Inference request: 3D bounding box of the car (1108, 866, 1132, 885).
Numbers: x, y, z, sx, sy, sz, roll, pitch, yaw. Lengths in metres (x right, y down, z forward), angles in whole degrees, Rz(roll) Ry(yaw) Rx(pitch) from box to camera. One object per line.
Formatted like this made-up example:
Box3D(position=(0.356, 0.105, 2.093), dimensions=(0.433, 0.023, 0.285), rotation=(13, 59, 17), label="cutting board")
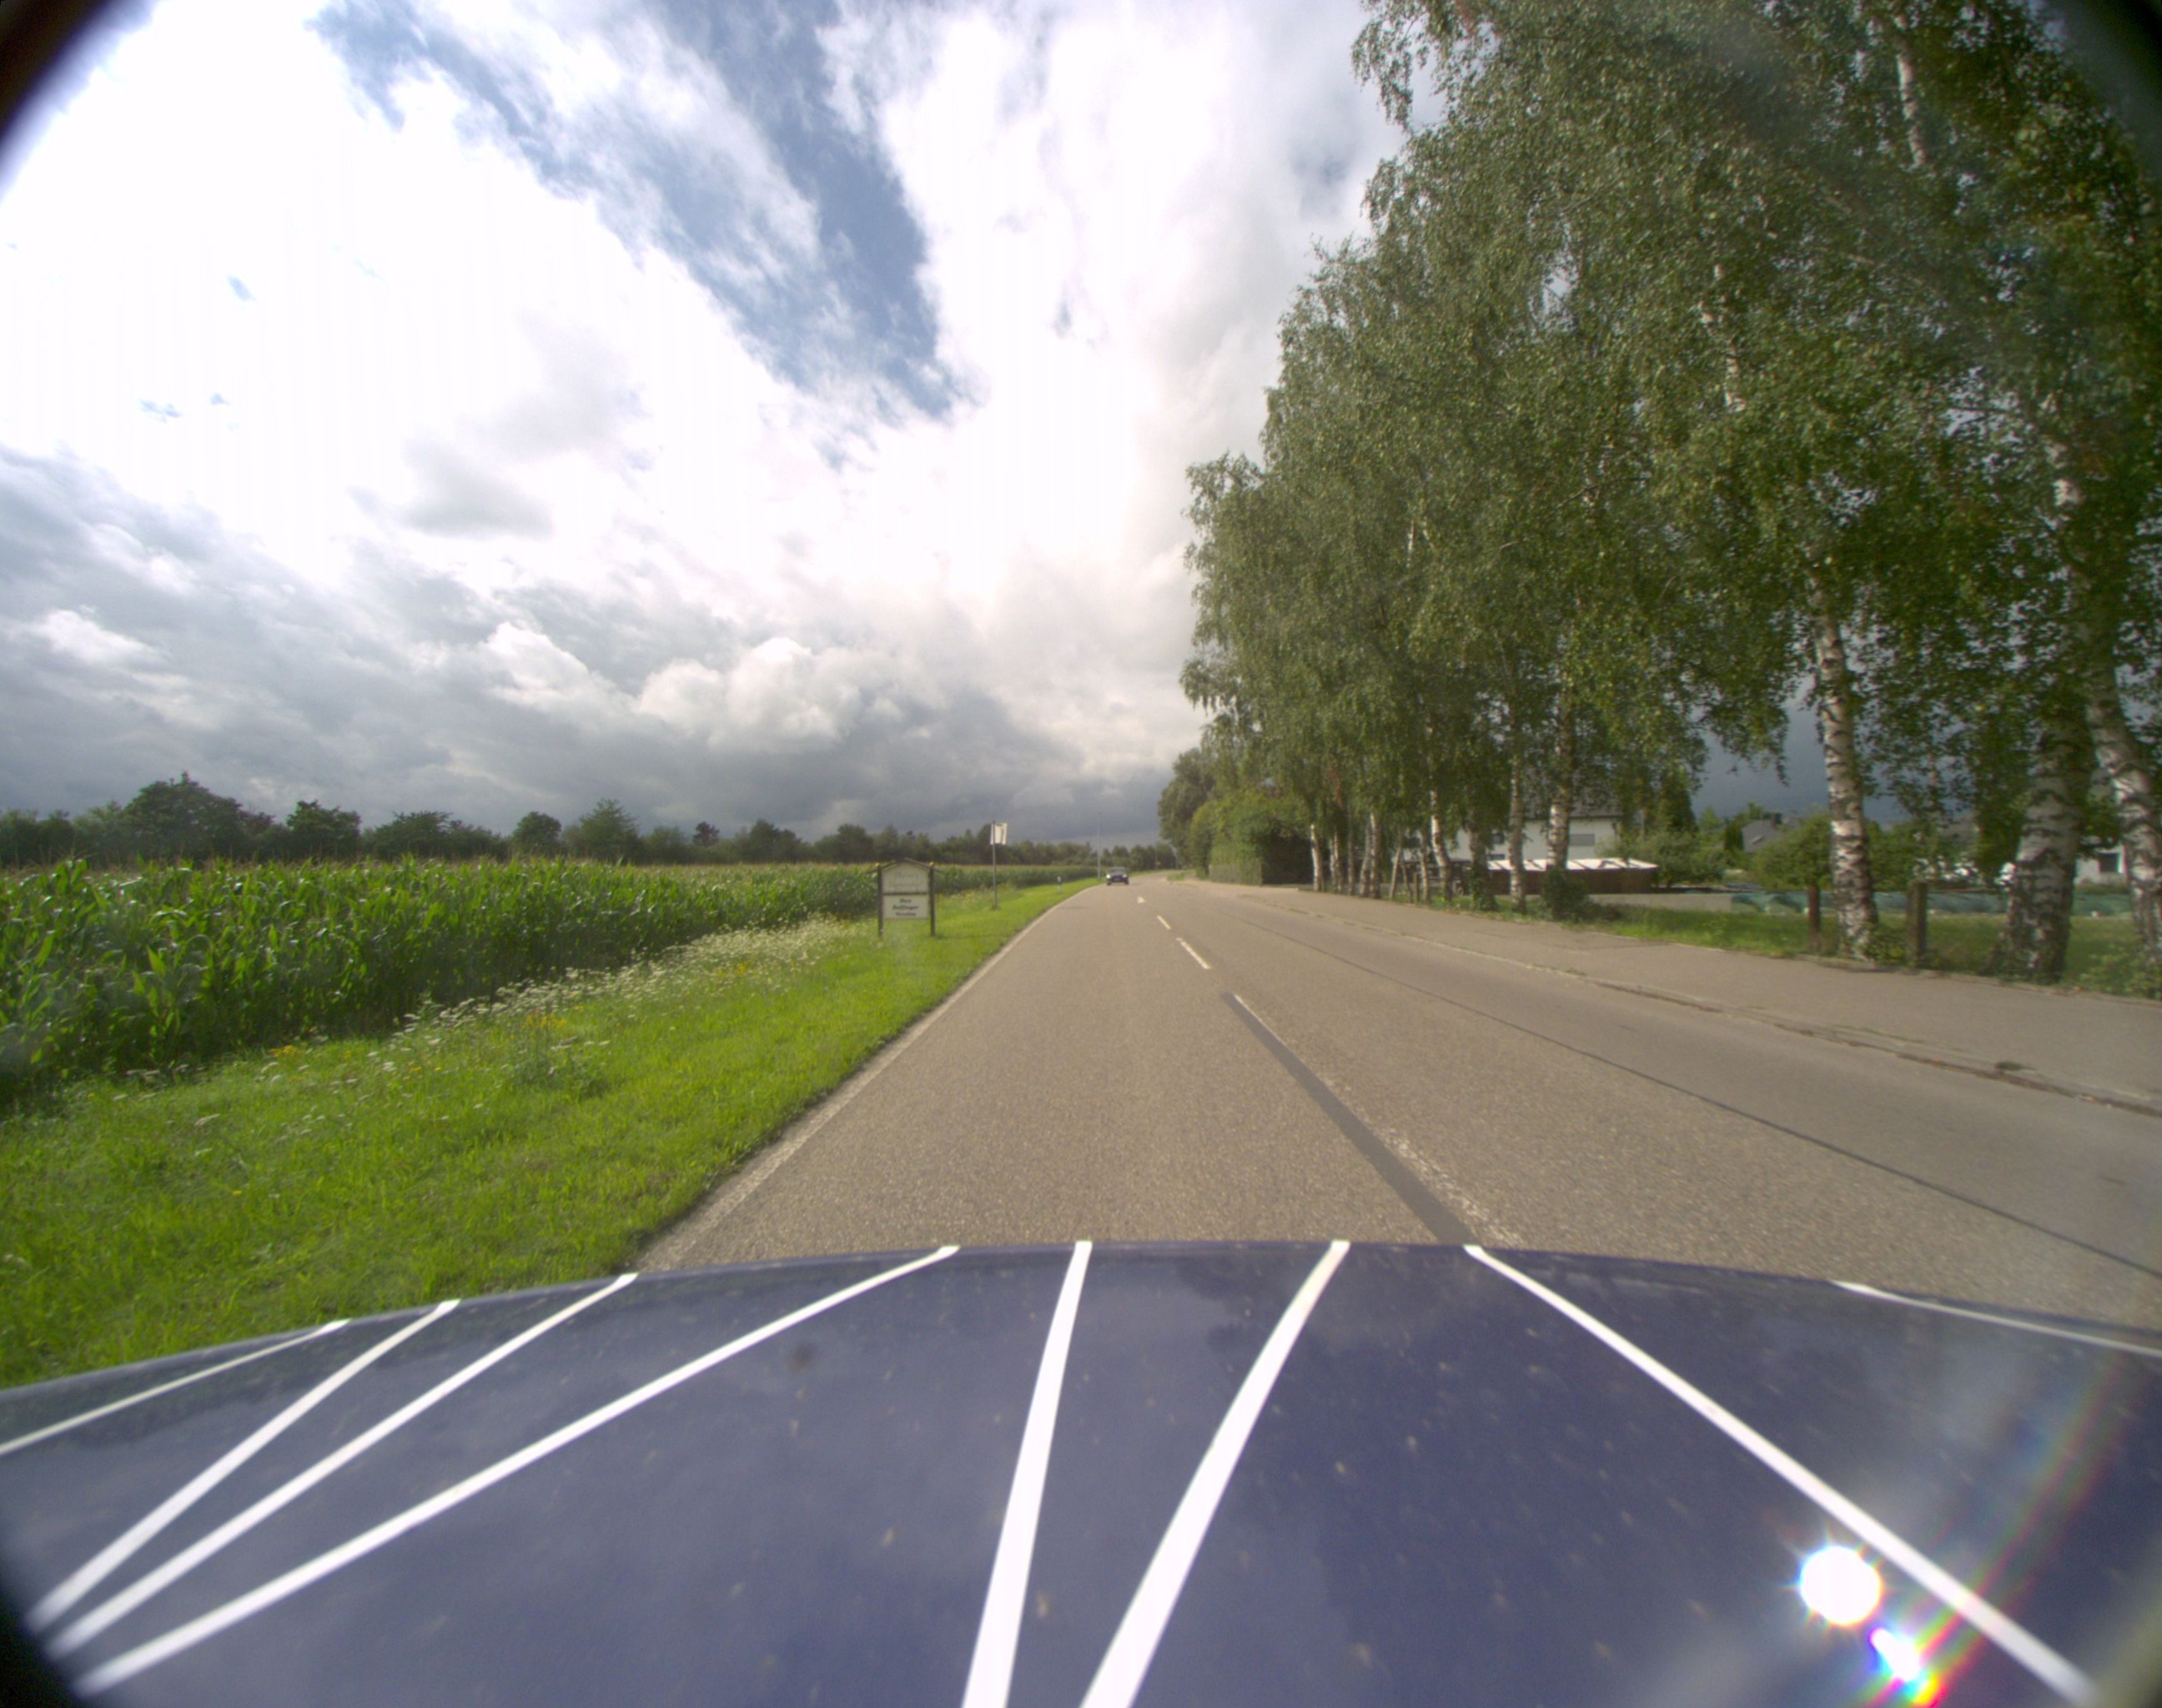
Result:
Box3D(position=(3.537, 1.895, 68.589), dimensions=(1.998, 1.594, 4.002), rotation=(-2, -1, 4), label="car")
